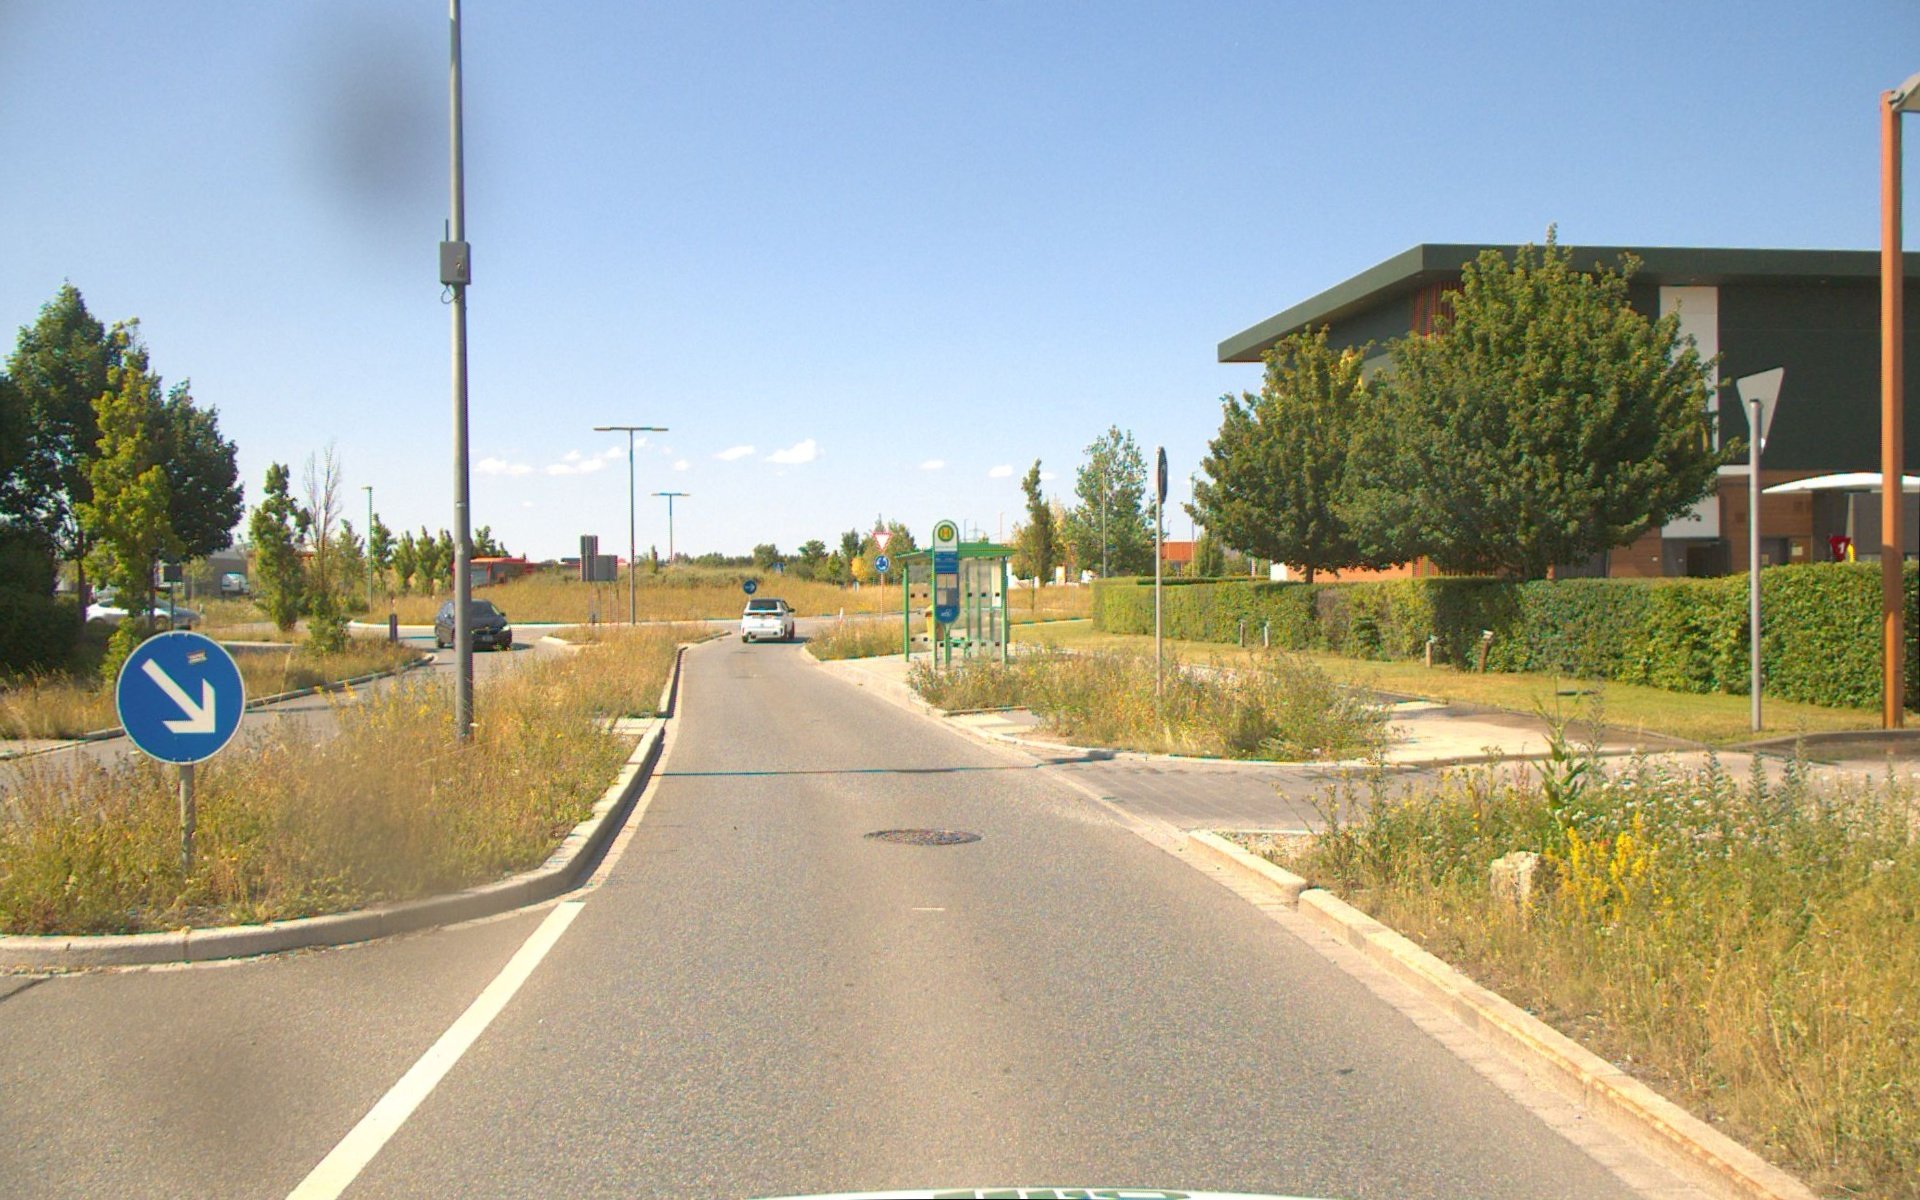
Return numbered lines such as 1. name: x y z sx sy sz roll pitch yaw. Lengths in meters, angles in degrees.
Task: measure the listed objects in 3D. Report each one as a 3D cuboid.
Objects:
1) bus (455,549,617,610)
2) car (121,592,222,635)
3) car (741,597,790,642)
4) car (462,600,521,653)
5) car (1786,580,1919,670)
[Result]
1. bus: -24.640 -1.306 97.107 2.729 3.132 12.209 -1 2 20
2. car: -33.397 0.553 70.039 4.533 1.654 1.956 1 2 37
3. car: -6.707 0.653 57.276 1.585 1.459 3.787 -1 0 -6
4. car: -15.350 0.846 54.155 1.731 1.570 4.221 -3 0 -17
5. car: 16.173 0.393 28.187 1.759 1.459 3.992 -1 0 -9
